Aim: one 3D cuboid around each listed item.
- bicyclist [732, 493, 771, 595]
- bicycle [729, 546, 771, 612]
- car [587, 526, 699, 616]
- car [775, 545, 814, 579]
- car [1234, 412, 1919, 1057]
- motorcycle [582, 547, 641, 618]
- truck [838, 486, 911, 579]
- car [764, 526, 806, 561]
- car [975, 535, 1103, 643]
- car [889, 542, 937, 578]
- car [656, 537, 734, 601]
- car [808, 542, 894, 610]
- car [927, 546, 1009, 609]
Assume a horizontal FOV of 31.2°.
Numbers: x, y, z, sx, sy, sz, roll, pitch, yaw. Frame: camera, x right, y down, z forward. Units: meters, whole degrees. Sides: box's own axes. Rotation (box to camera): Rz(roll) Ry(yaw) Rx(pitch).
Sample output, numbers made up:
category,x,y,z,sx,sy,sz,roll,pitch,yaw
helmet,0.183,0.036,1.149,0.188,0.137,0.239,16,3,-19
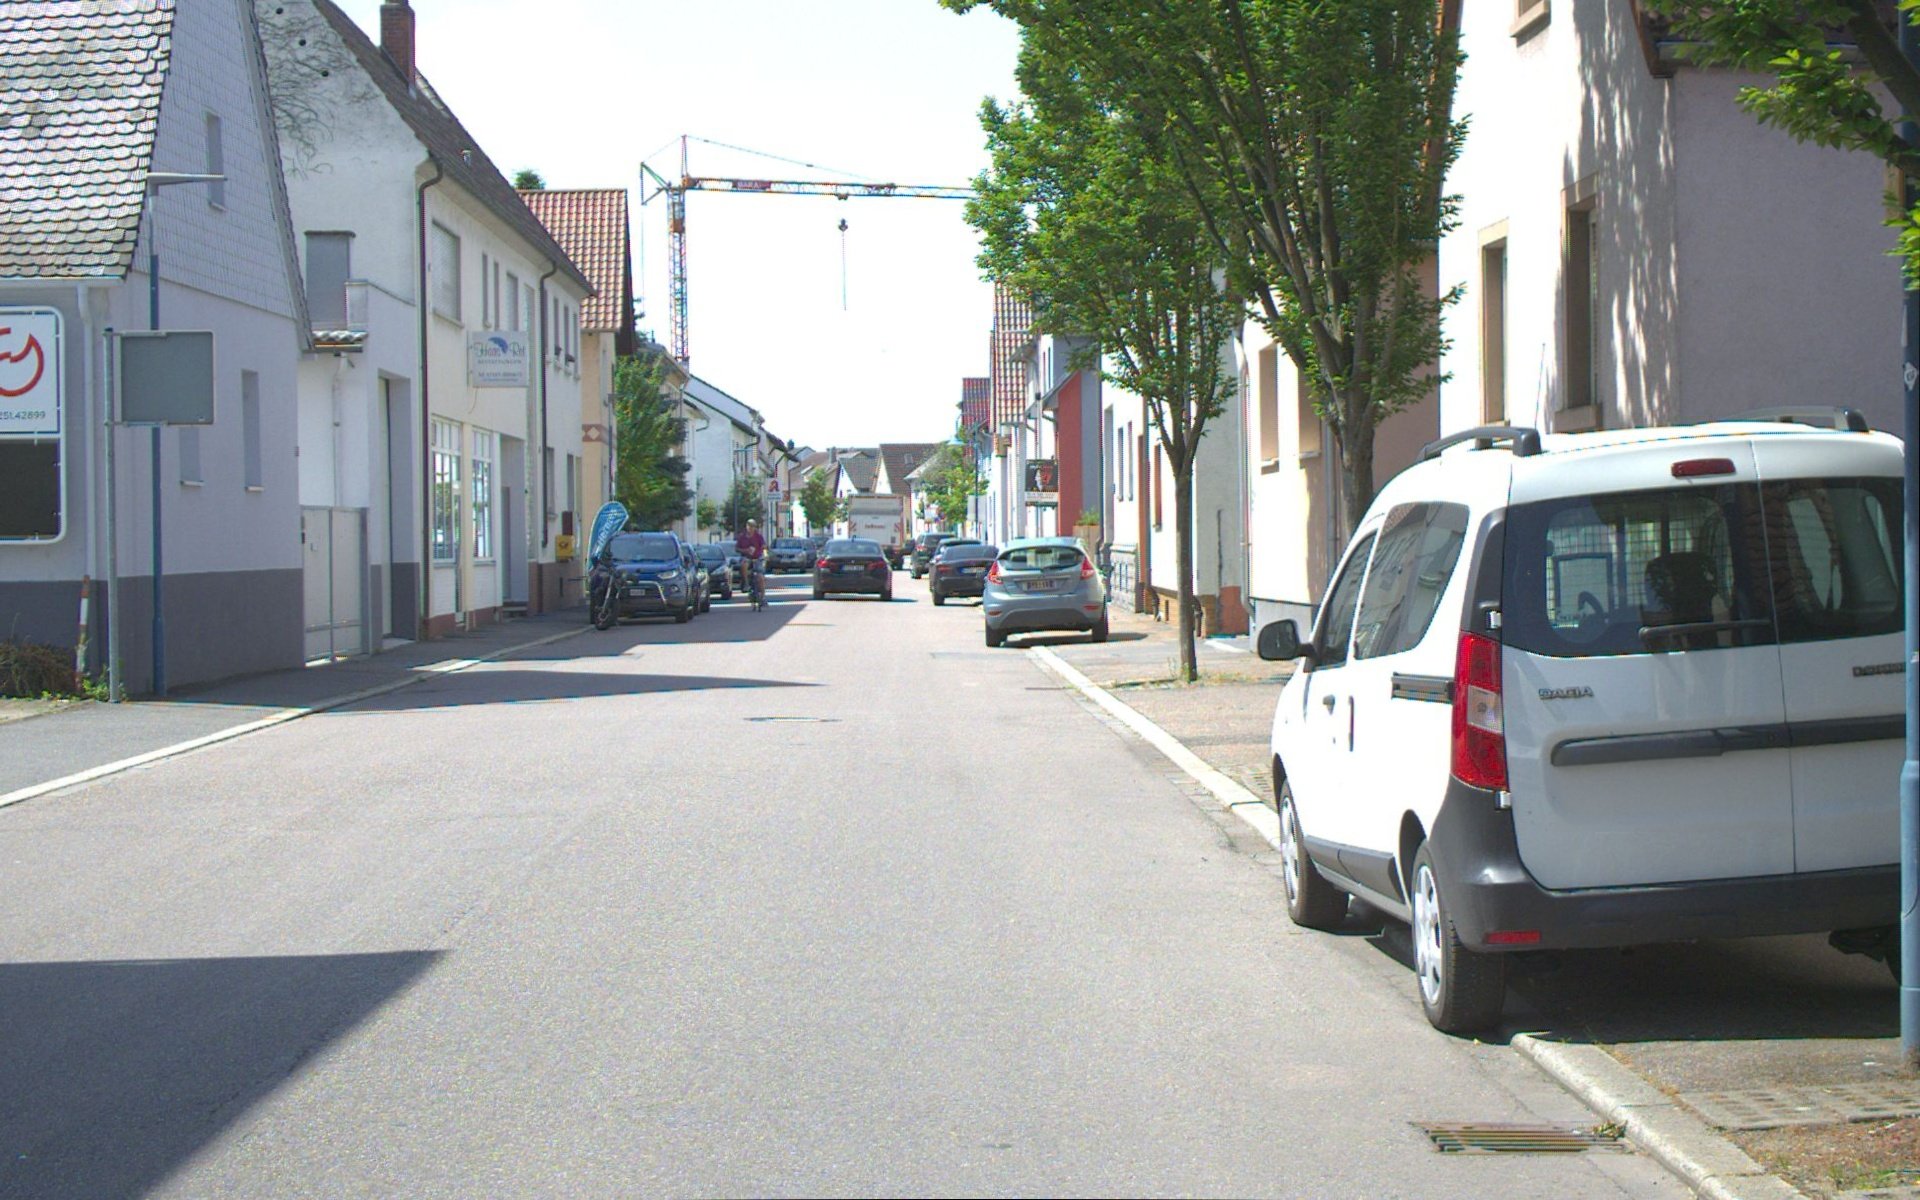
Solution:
category,x,y,z,sx,sy,sz,roll,pitch,yaw
bicyclist,-4.262,-1.138,70.310,0.740,2.052,0.844,1,0,-2
bicycle,-4.276,-0.434,70.231,0.751,1.303,2.685,1,1,-2
car,-5.762,-0.554,62.762,1.809,1.583,4.001,0,1,-2
car,-7.904,-1.804,164.370,1.809,1.583,4.001,0,1,-2
car,2.093,0.336,11.810,1.719,1.784,4.144,-2,1,-3
motorcycle,-5.966,-0.301,58.904,0.846,1.166,2.469,1,1,-3
truck,-3.996,-3.151,163.150,3.145,4.236,9.302,2,1,0
car,-8.015,-2.589,157.684,1.809,1.583,4.000,0,1,-2
car,1.077,-0.184,48.538,1.719,1.456,4.157,0,1,0
car,-1.729,-1.479,125.881,1.719,1.264,4.157,0,1,-1
car,-6.749,-0.818,87.728,1.809,1.583,4.001,0,1,-2
car,-2.566,-0.594,81.629,1.902,1.558,4.477,0,1,0
car,0.149,-0.530,76.870,1.719,1.350,4.157,0,1,-1
